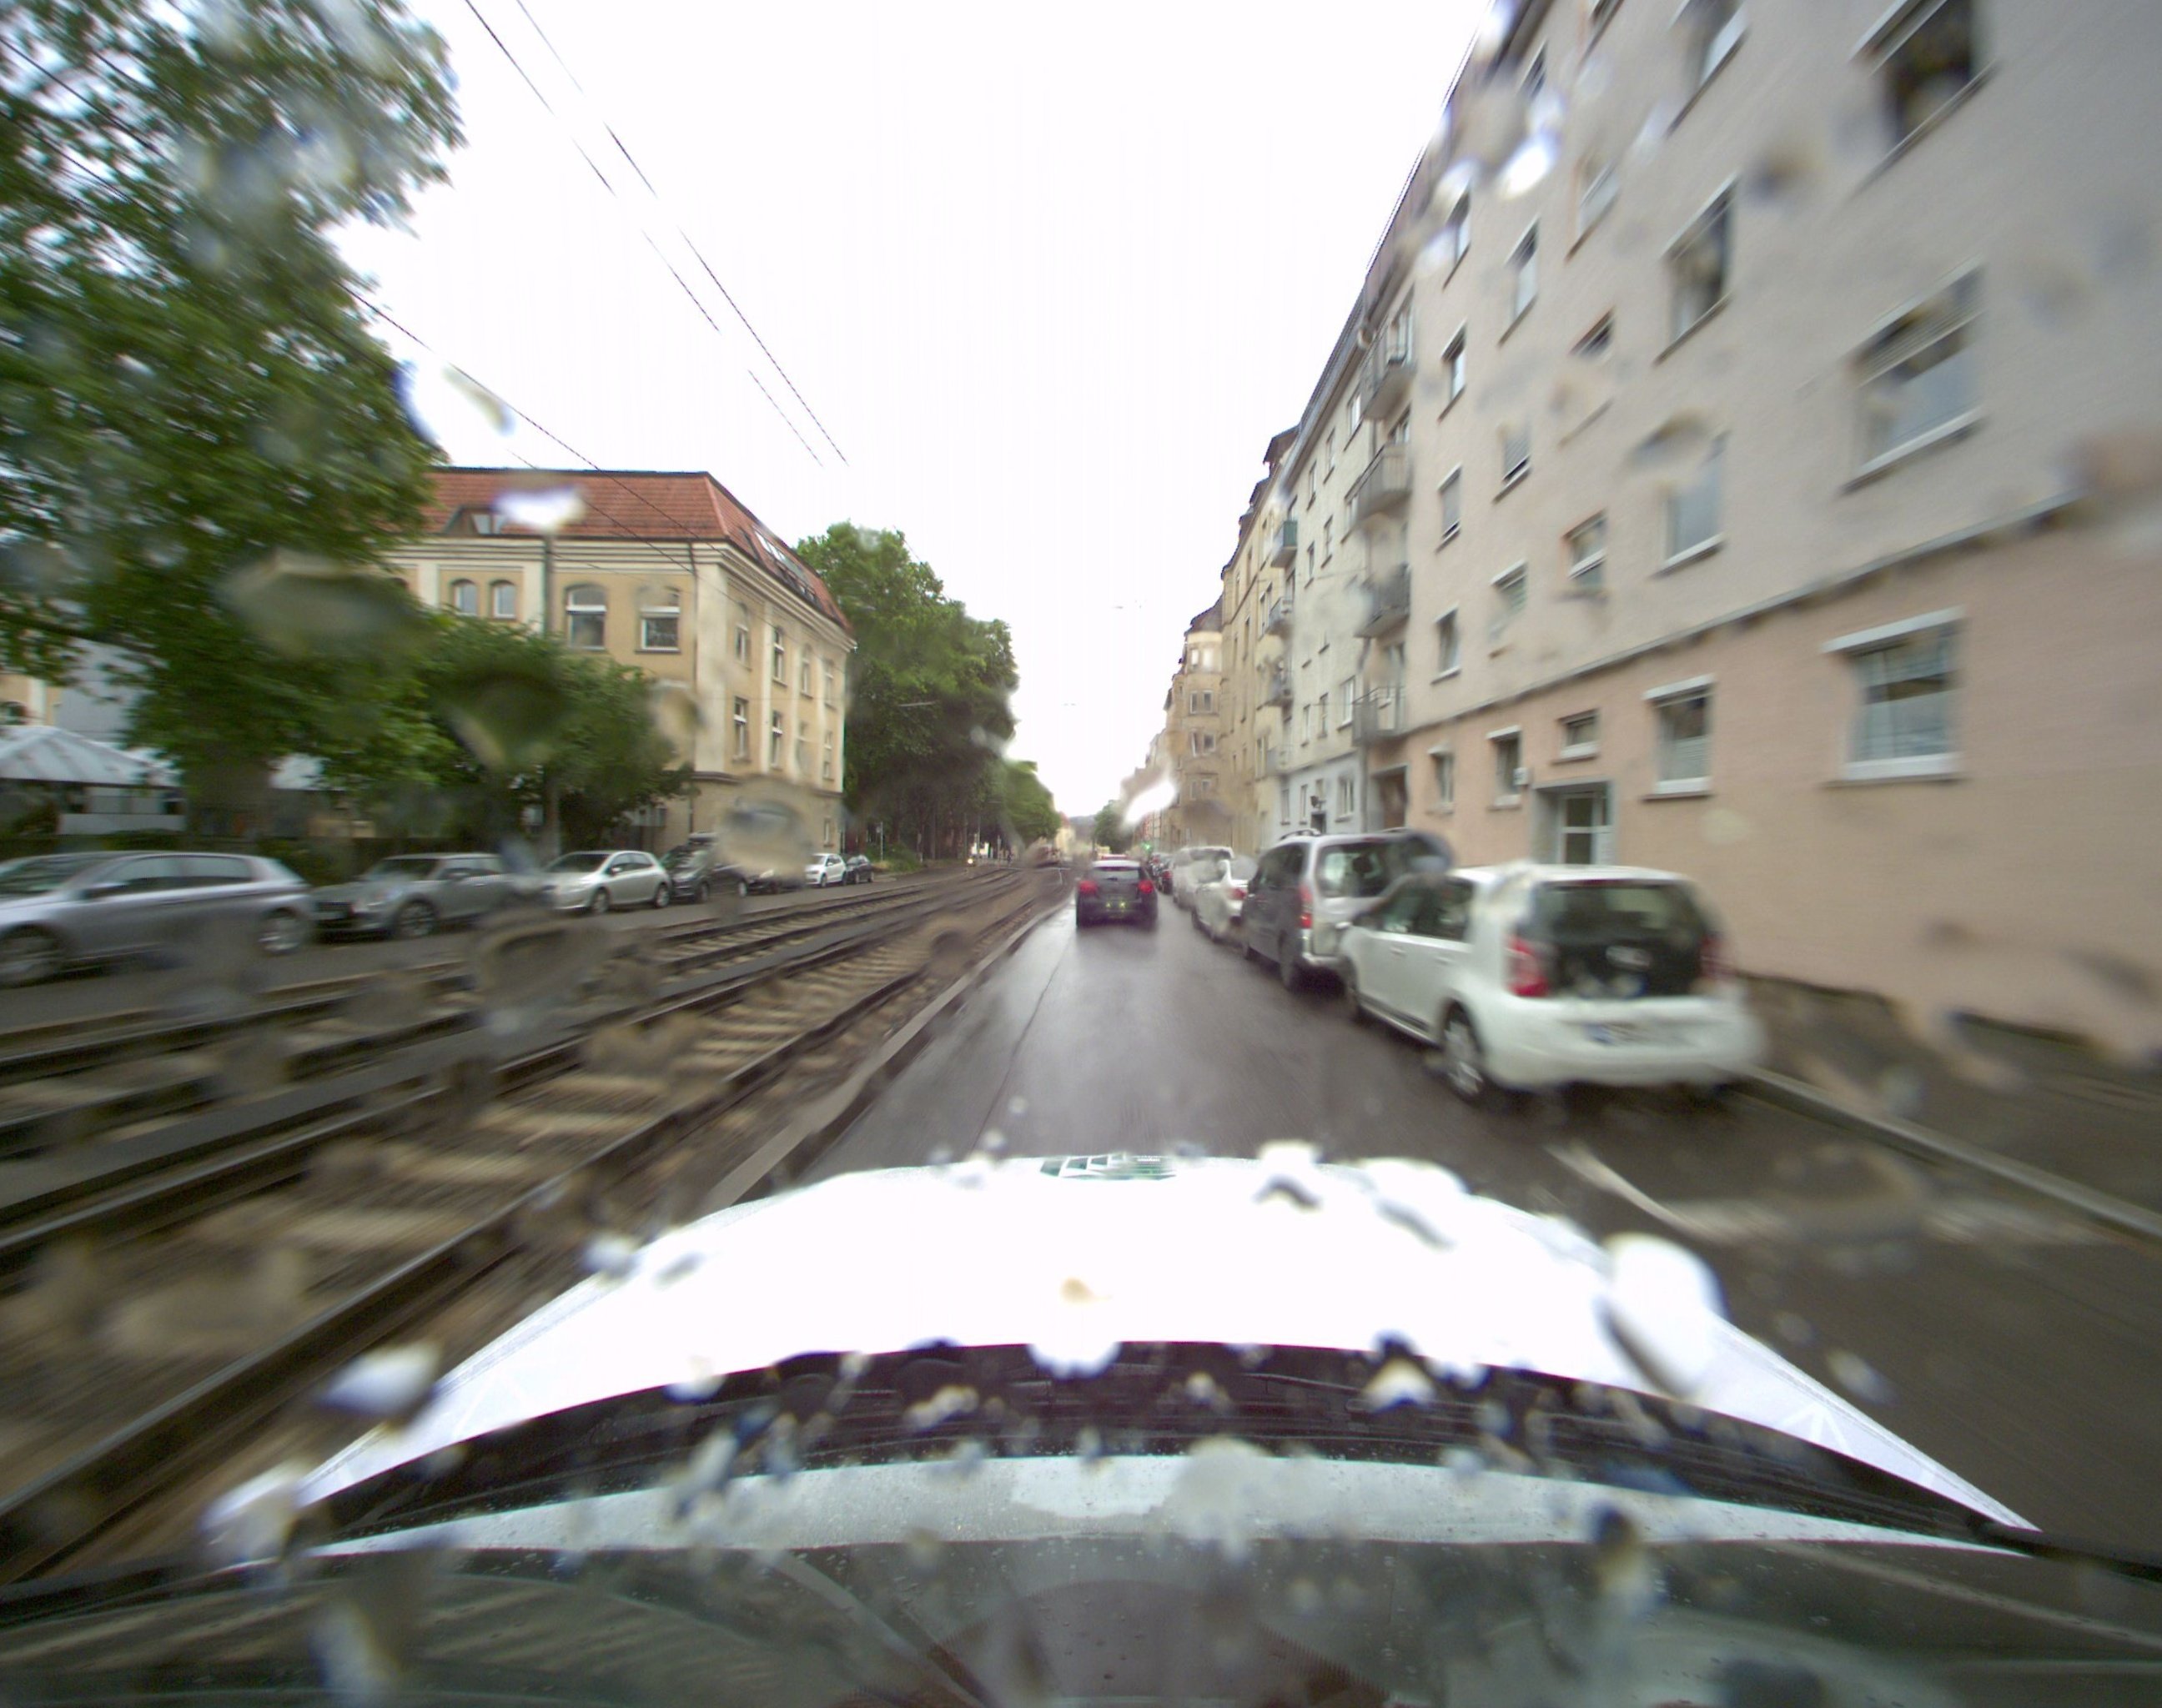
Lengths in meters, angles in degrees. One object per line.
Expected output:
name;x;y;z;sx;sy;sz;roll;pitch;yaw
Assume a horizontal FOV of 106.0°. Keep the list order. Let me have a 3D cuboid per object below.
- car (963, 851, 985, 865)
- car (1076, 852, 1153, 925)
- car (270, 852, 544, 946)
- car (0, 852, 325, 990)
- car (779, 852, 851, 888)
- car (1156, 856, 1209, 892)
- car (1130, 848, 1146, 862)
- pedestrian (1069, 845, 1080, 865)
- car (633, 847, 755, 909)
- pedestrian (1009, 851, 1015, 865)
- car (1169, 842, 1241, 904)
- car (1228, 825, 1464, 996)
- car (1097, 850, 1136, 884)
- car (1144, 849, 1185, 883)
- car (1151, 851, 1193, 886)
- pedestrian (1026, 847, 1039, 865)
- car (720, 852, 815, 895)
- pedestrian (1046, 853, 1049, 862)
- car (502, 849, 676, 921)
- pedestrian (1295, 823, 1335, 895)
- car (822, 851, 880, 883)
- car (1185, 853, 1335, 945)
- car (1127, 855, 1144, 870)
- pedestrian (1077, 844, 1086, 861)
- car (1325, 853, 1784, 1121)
car;-12.354;0.454;94.327;1.810;1.505;4.637;1;0;3
car;0.737;0.718;18.585;1.574;1.505;3.575;0;0;1
car;-11.800;0.696;14.657;1.534;1.413;3.954;-2;0;1
car;-11.935;0.707;9.775;1.748;1.413;4.154;-2;0;1
car;-11.161;0.620;34.425;1.494;1.391;3.990;-2;0;3
car;4.078;0.770;33.387;1.711;1.347;4.463;1;0;1
car;6.821;0.131;97.166;1.753;1.579;4.002;-1;0;2
pedestrian;-0.685;0.127;84.466;1.135;1.998;1.171;-1;0;-2
car;-11.412;0.650;24.330;1.571;1.643;4.072;-2;0;1
pedestrian;-8.686;0.525;102.309;0.532;1.754;0.607;2;0;2
car;3.770;0.529;25.339;1.820;1.750;4.471;0;0;3
car;3.164;0.587;10.652;1.784;1.765;4.213;-1;0;1
car;1.723;0.605;39.703;1.778;1.581;4.002;0;0;2
car;4.448;0.615;44.021;1.760;1.668;4.331;1;0;0
car;4.271;0.643;38.490;1.687;1.529;4.002;0;0;2
pedestrian;-4.634;0.179;77.629;1.050;1.718;0.905;1;0;3
car;-11.277;0.657;29.575;1.668;1.413;4.013;-2;0;3
pedestrian;-6.407;0.671;155.389;0.516;1.717;0.551;2;0;2
car;-11.524;0.659;19.448;1.534;1.505;4.155;-2;0;1
pedestrian;6.211;0.125;21.655;0.743;1.833;1.039;-2;0;3
car;-11.016;0.576;39.290;1.608;1.429;3.854;0;1;2
car;3.217;0.732;15.656;1.865;1.455;4.903;0;0;1
car;6.209;0.995;92.678;1.820;1.618;3.866;-1;0;2
pedestrian;0.014;-0.141;77.710;0.803;1.633;0.893;-1;0;2
car;3.132;0.731;6.275;1.564;1.462;3.601;0;0;2
